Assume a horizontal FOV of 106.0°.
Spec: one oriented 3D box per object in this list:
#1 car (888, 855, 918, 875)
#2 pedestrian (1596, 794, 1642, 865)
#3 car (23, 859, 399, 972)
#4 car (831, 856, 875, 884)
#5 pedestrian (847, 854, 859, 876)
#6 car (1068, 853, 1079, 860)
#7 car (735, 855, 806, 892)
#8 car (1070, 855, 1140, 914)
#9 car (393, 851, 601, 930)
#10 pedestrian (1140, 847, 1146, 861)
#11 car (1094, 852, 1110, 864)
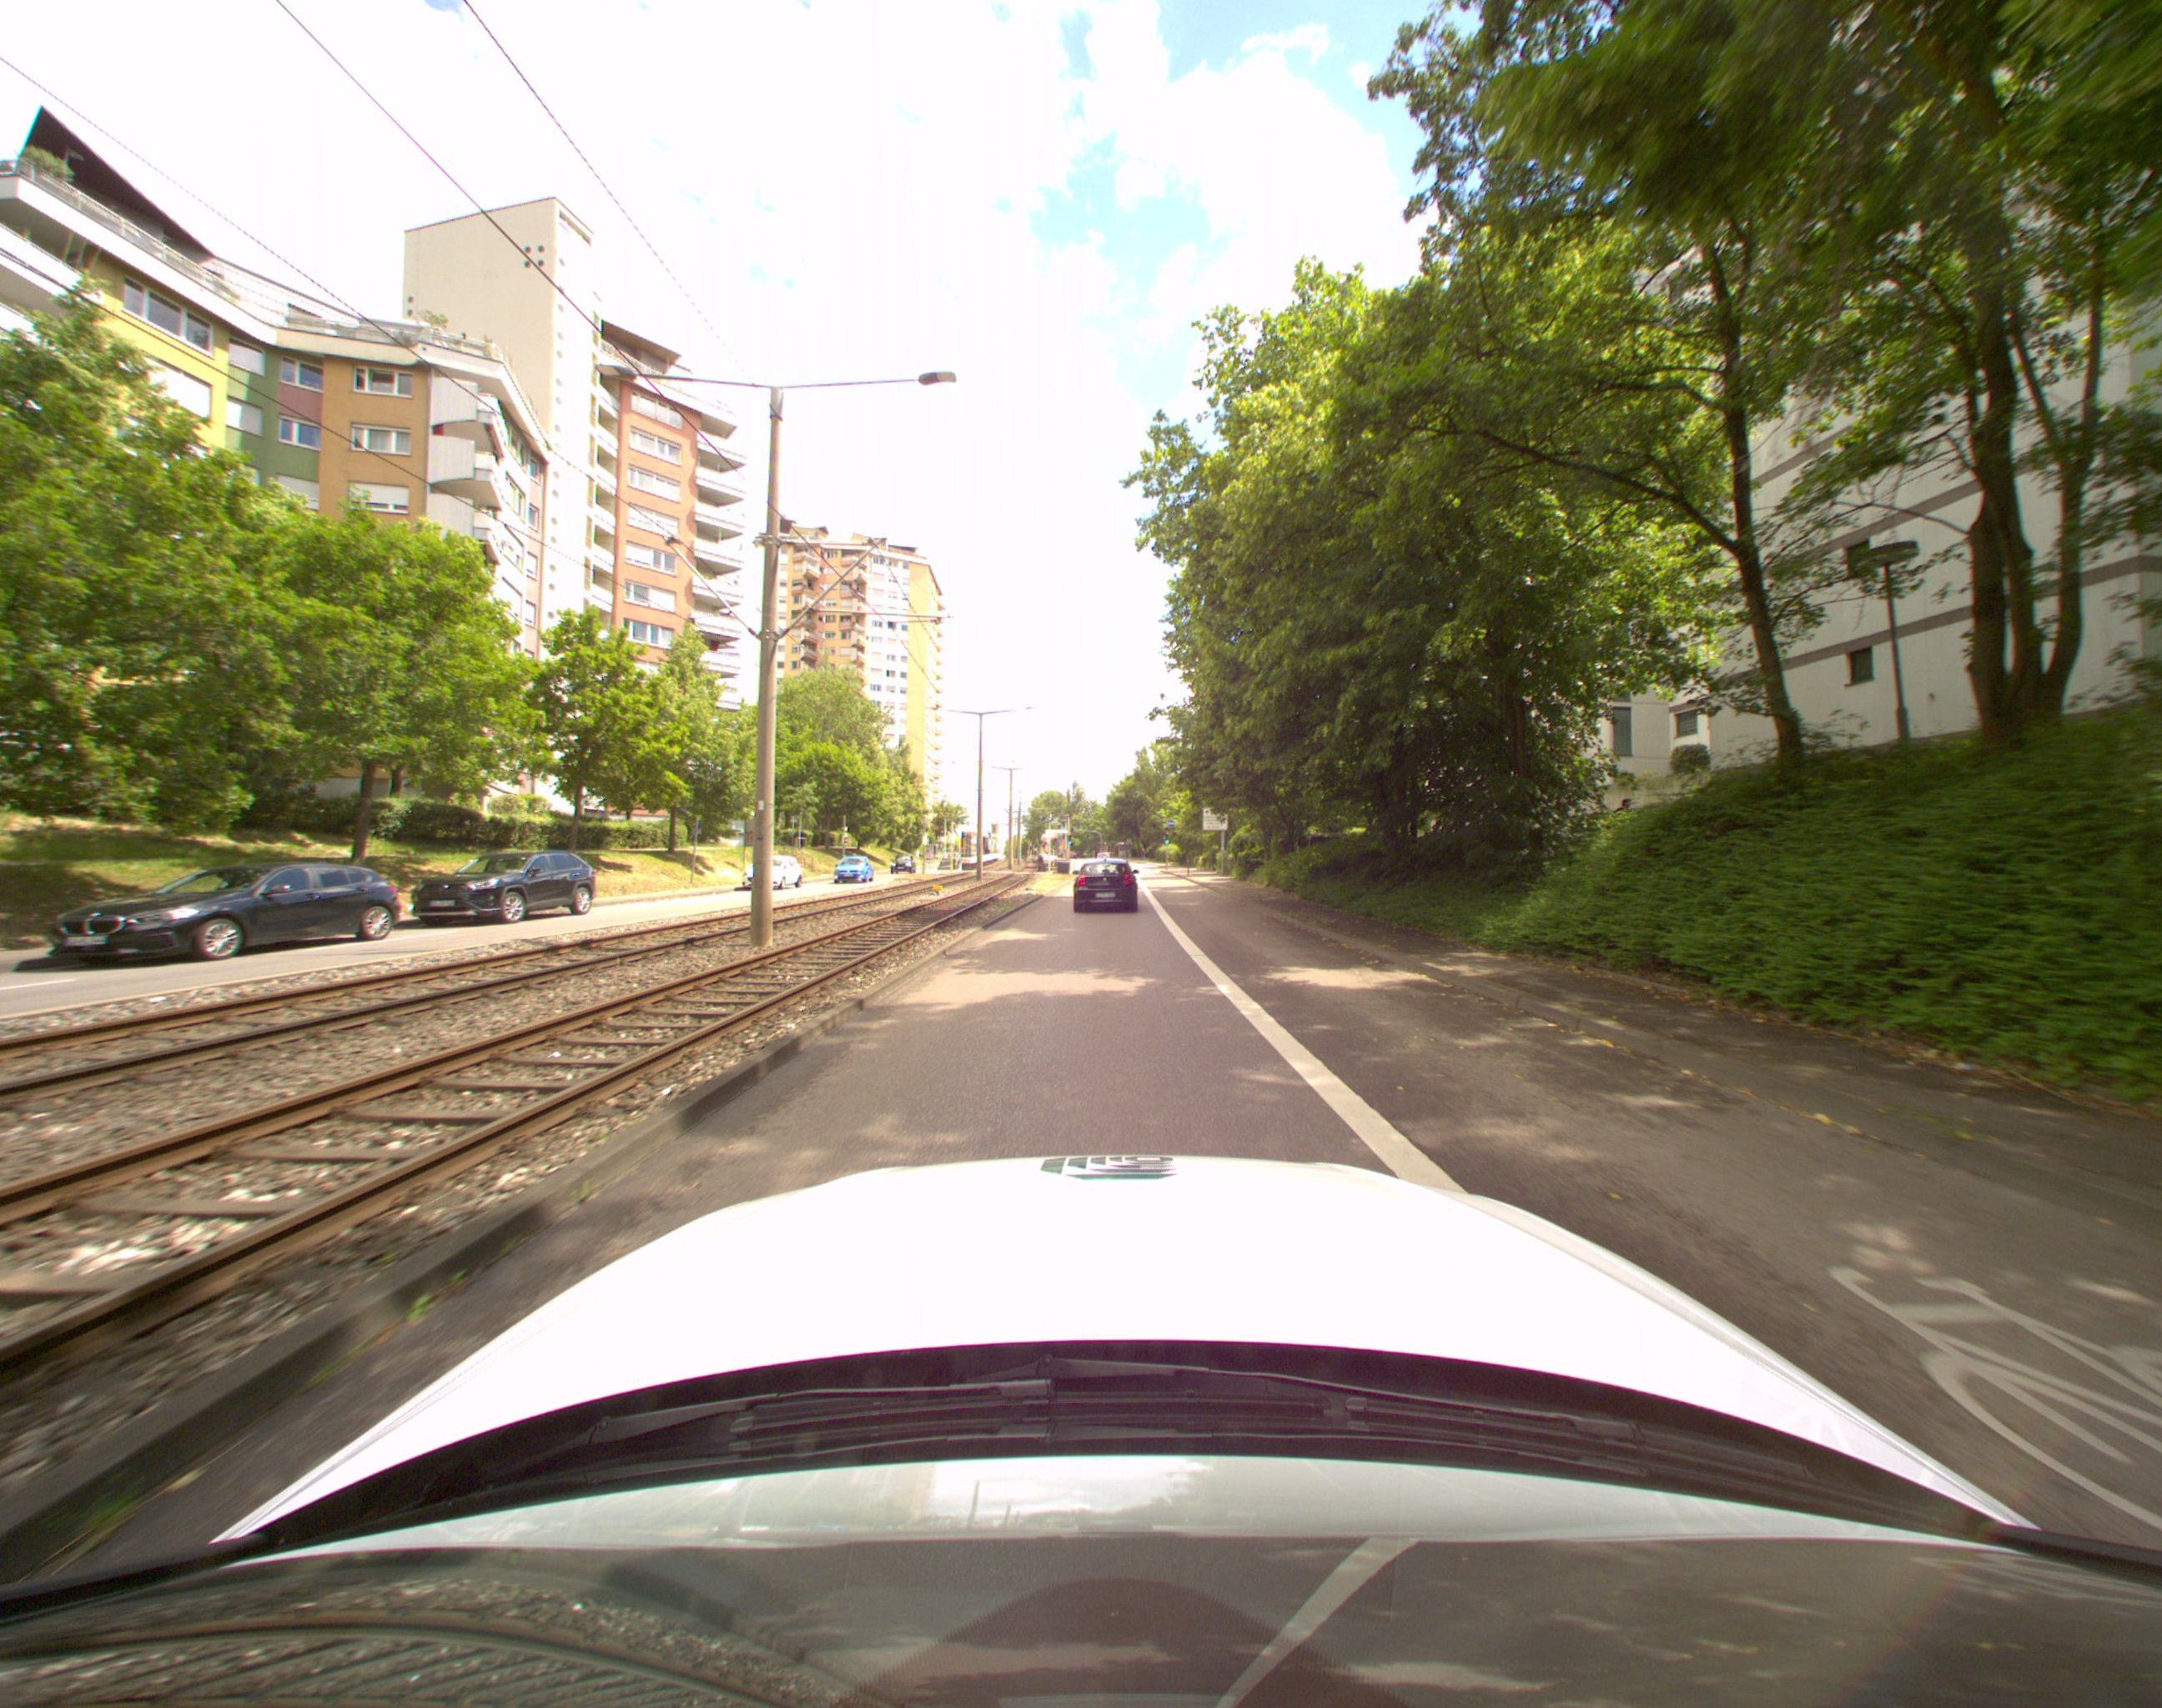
[{"bbox_3d":[-14.180,0.870,65.026,1.711,1.564,3.694,0,0,-2],"label":"car"},{"bbox_3d":[15.603,-0.696,23.638,0.754,2.013,0.882,-1,0,1],"label":"pedestrian"},{"bbox_3d":[-13.565,0.853,13.130,1.769,1.498,3.996,0,0,-1],"label":"car"},{"bbox_3d":[-12.303,0.821,44.141,1.714,1.442,3.932,0,0,-8],"label":"car"},{"bbox_3d":[-16.396,0.787,58.564,0.770,1.534,0.713,-1,0,-18],"label":"pedestrian"},{"bbox_3d":[-1.459,0.496,157.529,1.906,1.459,3.997,0,0,-4],"label":"car"},{"bbox_3d":[-13.940,0.834,36.865,1.778,1.532,4.239,-1,0,-4],"label":"car"},{"bbox_3d":[0.622,0.773,22.819,1.775,1.459,3.920,-1,0,0],"label":"car"},{"bbox_3d":[-13.551,0.791,19.284,1.769,1.630,4.380,-1,-1,-1],"label":"car"},{"bbox_3d":[8.703,0.043,114.772,0.737,2.013,0.682,0,0,2],"label":"pedestrian"},{"bbox_3d":[2.564,0.487,99.528,1.776,1.459,3.918,0,0,-2],"label":"car"}]
